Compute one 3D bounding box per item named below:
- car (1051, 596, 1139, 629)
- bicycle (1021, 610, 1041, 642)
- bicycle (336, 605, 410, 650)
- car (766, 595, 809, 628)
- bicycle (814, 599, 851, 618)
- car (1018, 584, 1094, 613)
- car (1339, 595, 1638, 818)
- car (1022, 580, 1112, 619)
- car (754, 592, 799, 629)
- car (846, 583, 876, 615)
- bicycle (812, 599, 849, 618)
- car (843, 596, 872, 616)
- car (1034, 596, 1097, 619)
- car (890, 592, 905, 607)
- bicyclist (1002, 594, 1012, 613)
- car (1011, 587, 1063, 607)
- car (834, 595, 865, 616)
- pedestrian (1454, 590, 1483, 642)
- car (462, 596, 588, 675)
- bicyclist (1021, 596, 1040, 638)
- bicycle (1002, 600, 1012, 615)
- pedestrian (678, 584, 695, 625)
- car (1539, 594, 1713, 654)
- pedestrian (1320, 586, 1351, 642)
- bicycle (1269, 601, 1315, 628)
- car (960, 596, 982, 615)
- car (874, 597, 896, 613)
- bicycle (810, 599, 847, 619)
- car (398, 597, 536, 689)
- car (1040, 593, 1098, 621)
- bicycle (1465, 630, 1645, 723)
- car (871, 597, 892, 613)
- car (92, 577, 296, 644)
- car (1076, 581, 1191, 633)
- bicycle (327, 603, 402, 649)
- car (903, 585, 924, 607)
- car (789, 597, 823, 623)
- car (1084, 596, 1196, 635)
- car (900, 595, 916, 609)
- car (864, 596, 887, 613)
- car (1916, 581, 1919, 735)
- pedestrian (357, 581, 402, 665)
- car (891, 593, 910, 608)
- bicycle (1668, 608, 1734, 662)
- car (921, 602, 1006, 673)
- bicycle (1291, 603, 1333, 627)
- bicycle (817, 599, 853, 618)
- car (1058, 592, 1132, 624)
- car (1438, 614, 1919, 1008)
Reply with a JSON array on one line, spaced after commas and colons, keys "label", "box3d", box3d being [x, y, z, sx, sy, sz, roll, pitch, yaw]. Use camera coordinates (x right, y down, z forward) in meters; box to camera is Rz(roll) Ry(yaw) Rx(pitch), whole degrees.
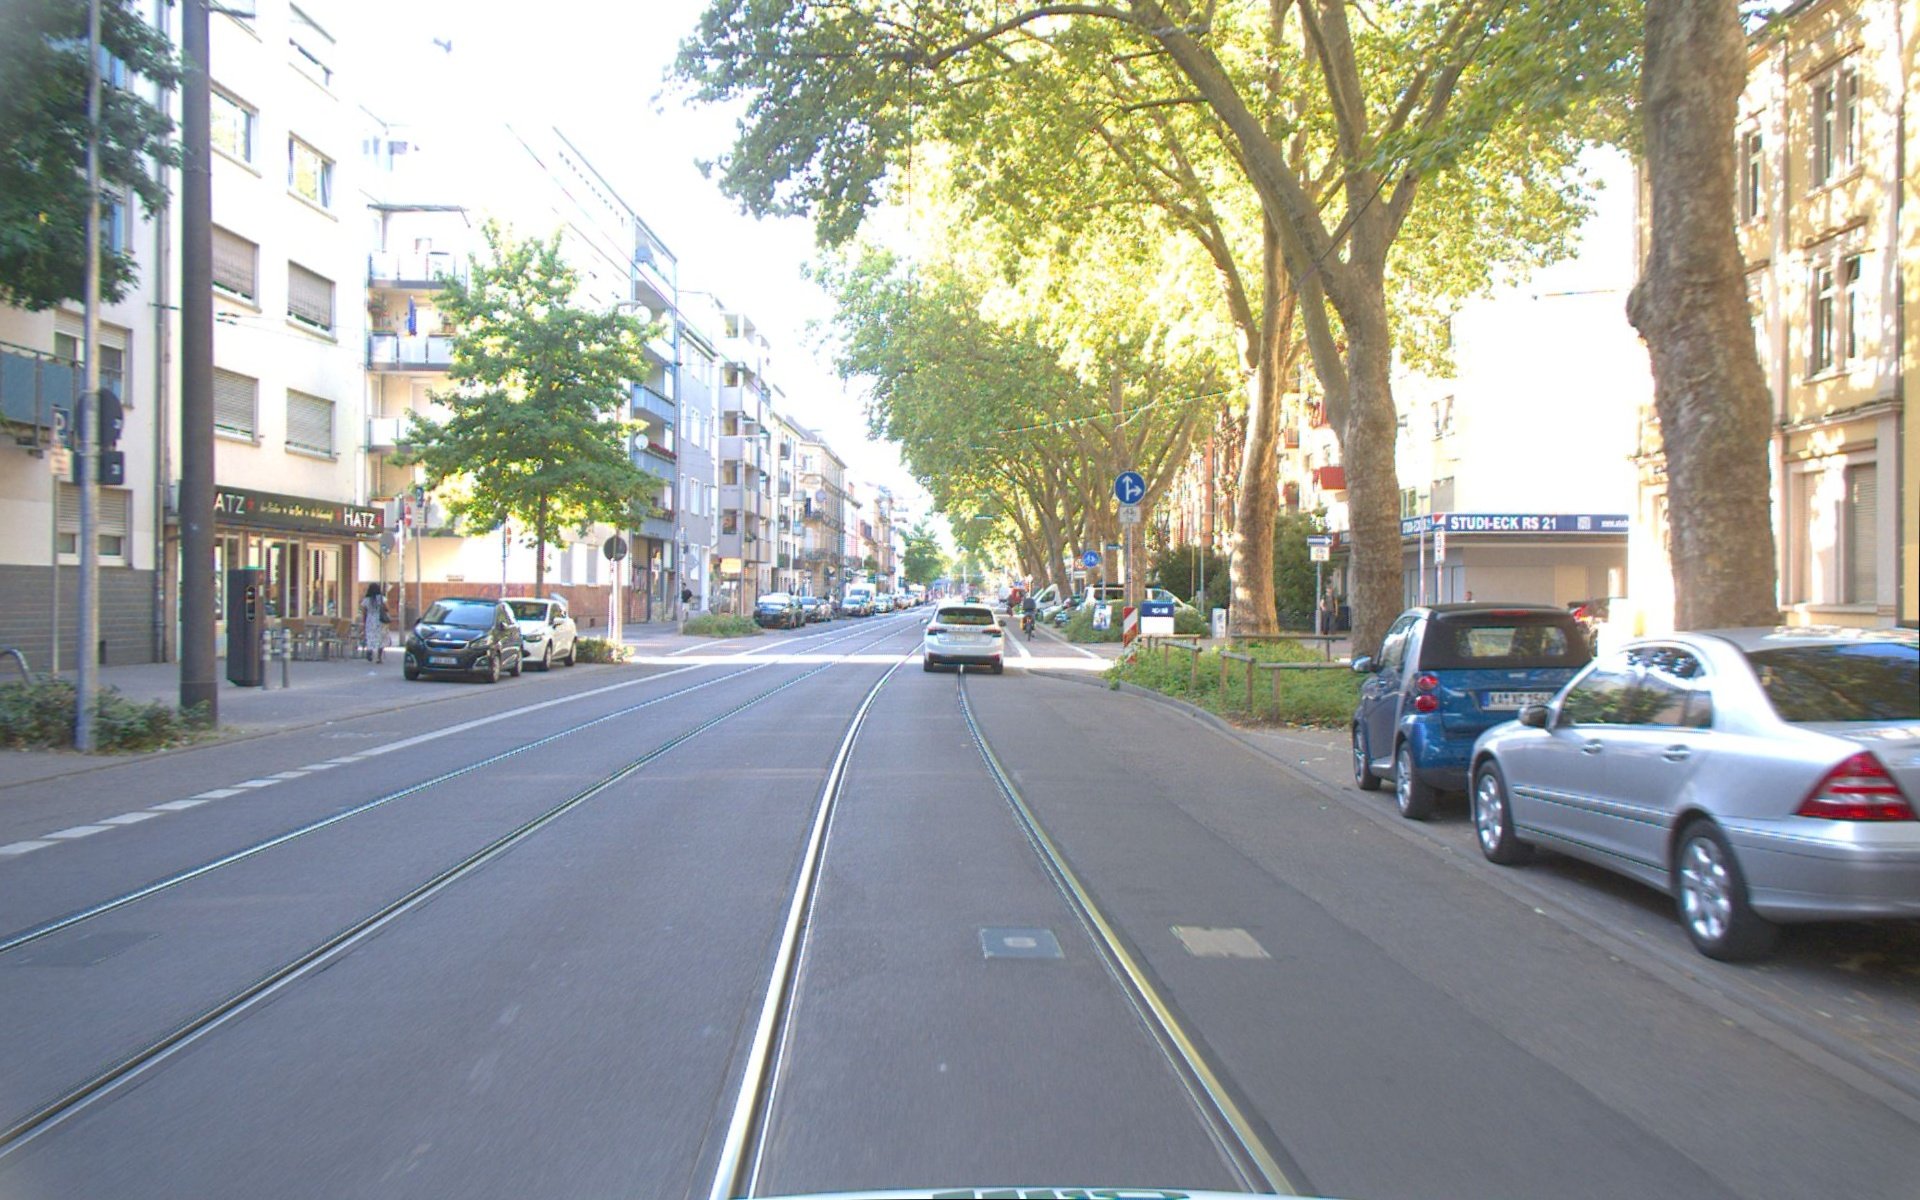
[{"label": "car", "box3d": [6.418, 0.595, 78.921, 4.058, 1.540, 1.931, 0, 0, -1]}, {"label": "bicycle", "box3d": [2.518, 0.922, 58.928, 0.667, 1.089, 1.781, 0, 0, 1]}, {"label": "bicycle", "box3d": [-16.066, 0.748, 45.273, 1.903, 1.177, 0.572, -2, 0, 14]}, {"label": "car", "box3d": [-8.835, 0.571, 84.869, 1.667, 1.571, 4.242, 3, 0, 1]}, {"label": "bicycle", "box3d": [-8.898, 0.611, 115.421, 2.475, 1.193, 0.718, 2, -2, -5]}, {"label": "car", "box3d": [7.711, -0.123, 133.320, 6.006, 2.322, 2.528, 0, 0, -1]}, {"label": "car", "box3d": [4.062, 0.773, 13.133, 1.531, 1.545, 2.911, -1, -1, 3]}, {"label": "car", "box3d": [7.391, -0.040, 114.700, 6.006, 2.681, 2.528, 0, 0, -1]}, {"label": "car", "box3d": [-8.804, 0.489, 79.595, 1.668, 1.679, 4.241, 3, 0, -1]}, {"label": "car", "box3d": [-8.124, -0.095, 136.419, 2.134, 2.642, 4.949, 0, 0, 1]}, {"label": "bicycle", "box3d": [-8.879, 0.617, 113.546, 2.476, 1.193, 0.718, 2, -2, -6]}, {"label": "car", "box3d": [-8.092, 0.456, 130.473, 1.952, 1.557, 4.000, 0, 0, 1]}, {"label": "car", "box3d": [7.125, 0.509, 111.868, 3.970, 1.567, 1.998, 0, 0, -5]}, {"label": "car", "box3d": [-9.014, -0.058, 237.875, 1.952, 2.049, 4.000, 0, 0, 1]}, {"label": "bicyclist", "box3d": [3.490, 0.268, 123.028, 0.636, 1.367, 0.934, 0, 0, -1]}, {"label": "car", "box3d": [9.008, -0.380, 193.555, 6.006, 2.322, 2.528, 0, 0, -1]}, {"label": "car", "box3d": [-8.307, 0.422, 124.693, 1.952, 1.557, 4.000, 0, 0, 1]}, {"label": "pedestrian", "box3d": [16.269, 0.512, 52.964, 0.731, 1.673, 0.666, 0, 0, 2]}, {"label": "car", "box3d": [-9.197, 0.722, 35.328, 1.679, 1.489, 4.374, 3, 0, -3]}, {"label": "bicyclist", "box3d": [2.512, 0.591, 58.981, 0.664, 1.468, 1.047, 0, 0, 1]}, {"label": "bicycle", "box3d": [3.495, 0.563, 123.015, 0.636, 1.089, 1.583, 0, 0, -1]}, {"label": "pedestrian", "box3d": [-12.561, 0.220, 75.984, 0.650, 1.858, 0.965, 0, 0, -1]}, {"label": "car", "box3d": [18.508, 0.653, 46.096, 4.050, 1.621, 1.998, 0, 0, -5]}, {"label": "pedestrian", "box3d": [12.951, 0.486, 57.116, 0.751, 1.899, 1.188, 0, 0, -3]}, {"label": "bicycle", "box3d": [15.079, 0.640, 75.110, 1.907, 1.177, 0.571, -2, 0, -7]}, {"label": "car", "box3d": [0.935, 0.415, 135.485, 1.725, 1.501, 4.001, 0, 0, 1]}, {"label": "car", "box3d": [-7.726, 0.512, 170.709, 1.952, 1.557, 4.000, 0, 0, 1]}, {"label": "bicycle", "box3d": [-8.949, 0.613, 112.664, 2.508, 1.193, 0.871, 3, -2, -40]}, {"label": "car", "box3d": [-9.051, 0.746, 30.668, 1.680, 1.489, 3.994, 3, 0, -6]}, {"label": "car", "box3d": [6.761, 0.437, 102.449, 3.558, 1.695, 1.823, 0, 0, 3]}, {"label": "bicycle", "box3d": [7.007, 0.905, 19.509, 1.925, 1.023, 0.510, -3, -1, 27]}, {"label": "car", "box3d": [-7.859, 0.480, 165.900, 1.952, 1.557, 4.000, 0, 0, 1]}, {"label": "car", "box3d": [-21.588, 0.296, 46.781, 4.778, 1.854, 2.037, 0, 0, -4]}, {"label": "car", "box3d": [7.080, 0.276, 67.704, 4.452, 2.113, 2.000, 0, 0, -2]}, {"label": "bicycle", "box3d": [-16.164, 0.711, 44.869, 1.903, 1.177, 0.572, -2, 0, 14]}, {"label": "car", "box3d": [-7.292, -0.619, 259.320, 2.907, 3.211, 5.847, 1, 0, 1]}, {"label": "car", "box3d": [-8.884, 0.547, 95.540, 1.620, 1.462, 3.836, 0, 0, -1]}, {"label": "car", "box3d": [7.065, 0.608, 65.125, 4.209, 1.505, 1.830, 0, 0, -1]}, {"label": "car", "box3d": [-6.860, 0.275, 218.574, 1.952, 1.668, 4.000, 1, 0, 1]}, {"label": "car", "box3d": [-7.981, 0.420, 156.747, 1.952, 1.557, 4.000, 0, 0, 1]}, {"label": "car", "box3d": [4.150, 0.703, 3.140, 1.820, 1.631, 4.781, -1, -1, -1]}, {"label": "pedestrian", "box3d": [-12.026, 0.464, 34.289, 0.650, 1.720, 0.748, 0, 0, -1]}, {"label": "car", "box3d": [-6.939, 0.112, 192.744, 1.952, 1.668, 4.000, 1, 0, 1]}, {"label": "bicycle", "box3d": [16.256, 0.759, 36.337, 0.570, 1.123, 1.922, -2, 0, 0]}, {"label": "car", "box3d": [0.059, 0.766, 35.631, 1.726, 1.408, 3.999, 0, 0, -1]}, {"label": "bicycle", "box3d": [15.974, 0.672, 75.037, 1.755, 1.060, 0.617, -2, 0, -4]}, {"label": "bicycle", "box3d": [-8.876, 0.615, 117.325, 2.476, 1.193, 0.718, 2, -2, -6]}, {"label": "car", "box3d": [7.305, 0.423, 89.831, 3.905, 1.709, 1.723, 0, 0, -1]}, {"label": "car", "box3d": [4.148, 0.820, 8.594, 1.780, 1.461, 4.600, -1, -1, -3]}]
